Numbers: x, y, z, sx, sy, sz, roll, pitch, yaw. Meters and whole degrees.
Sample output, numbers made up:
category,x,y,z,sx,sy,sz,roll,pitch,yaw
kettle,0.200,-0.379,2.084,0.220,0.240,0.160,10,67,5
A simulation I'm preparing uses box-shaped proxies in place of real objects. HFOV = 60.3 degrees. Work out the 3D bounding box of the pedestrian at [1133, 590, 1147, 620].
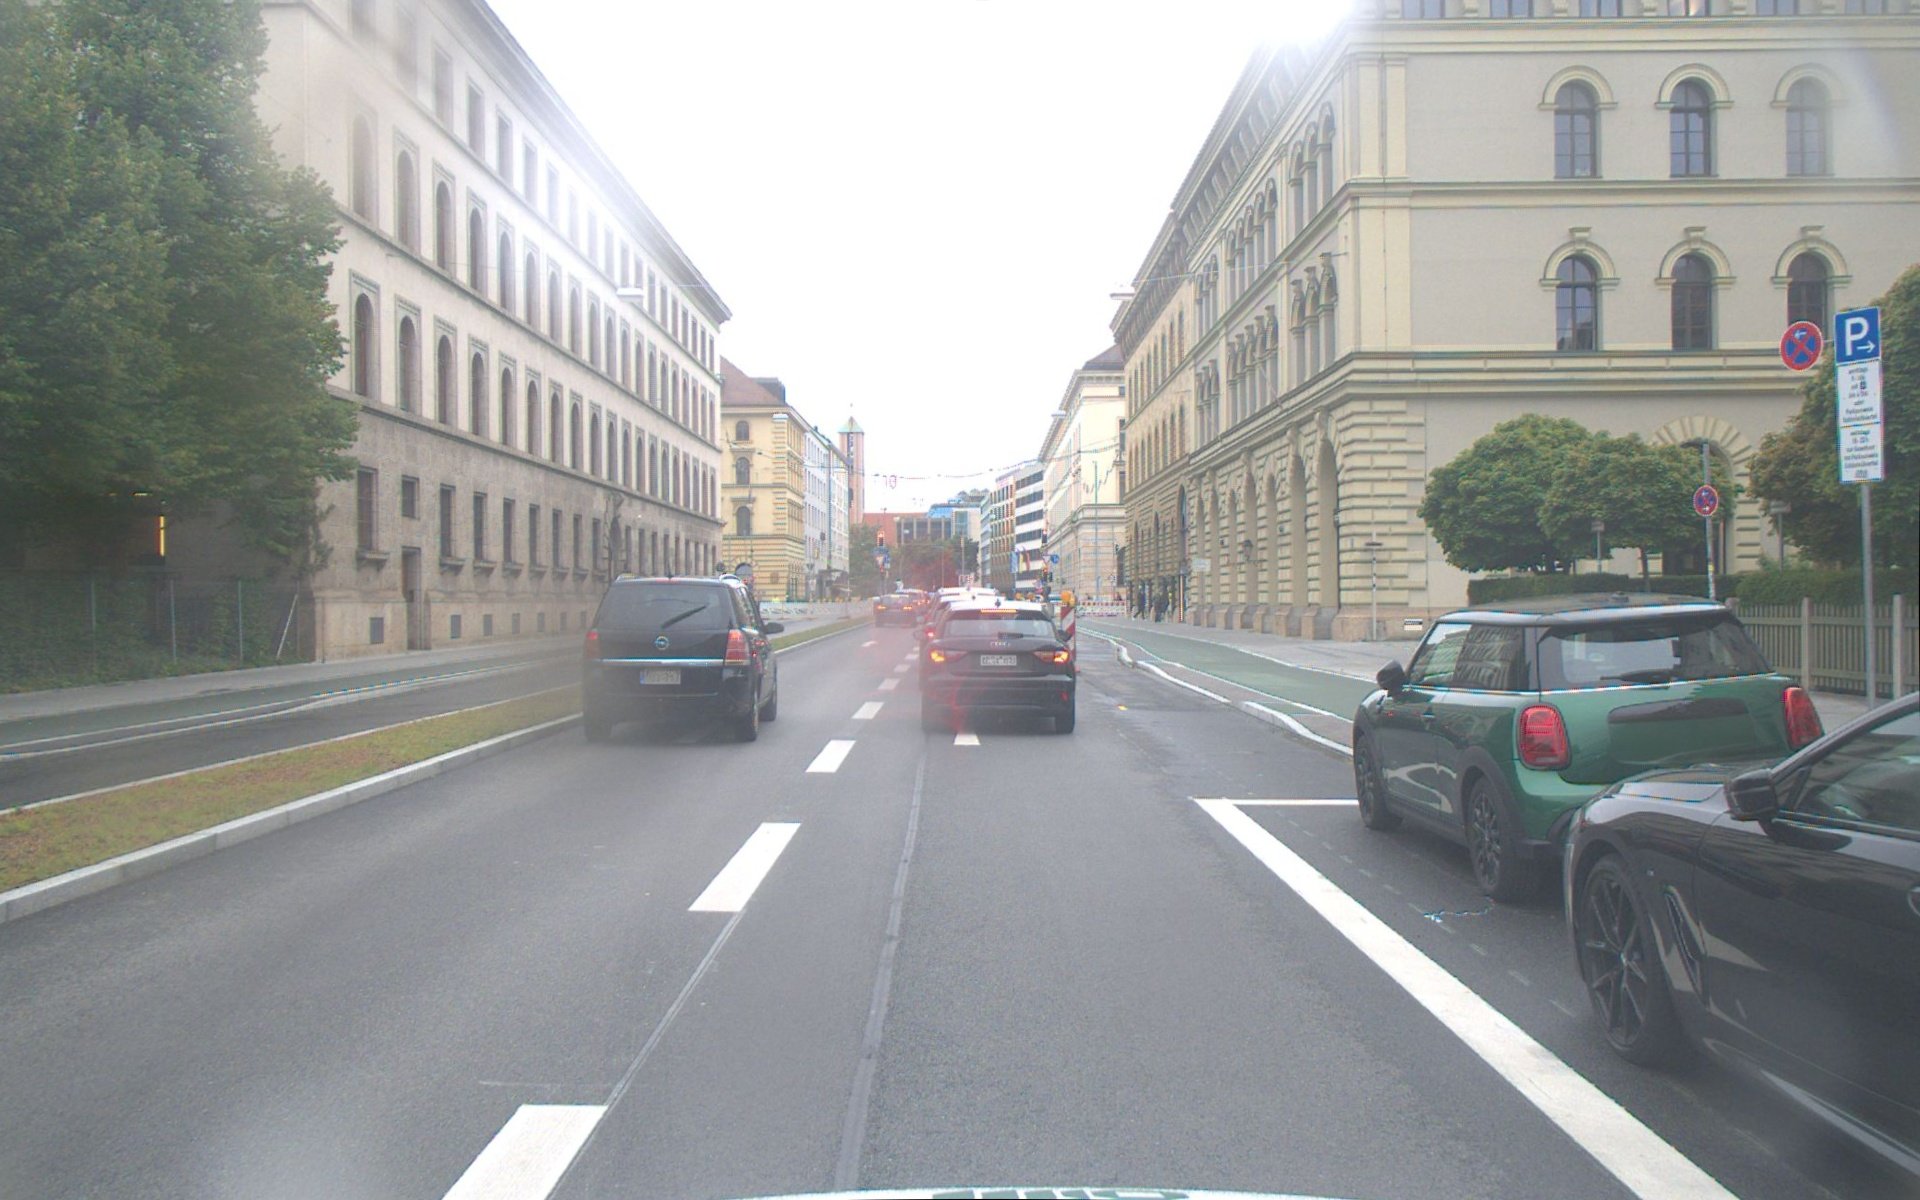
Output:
category,x,y,z,sx,sy,sz,roll,pitch,yaw
pedestrian,9.956,0.269,91.378,0.695,1.646,0.754,0,0,-1

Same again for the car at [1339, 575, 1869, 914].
category,x,y,z,sx,sy,sz,roll,pitch,yaw
car,3.418,0.658,9.570,1.640,1.547,3.830,1,0,1

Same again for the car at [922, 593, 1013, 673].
category,x,y,z,sx,sy,sz,roll,pitch,yaw
car,0.148,0.609,33.271,1.694,1.486,4.000,1,0,0

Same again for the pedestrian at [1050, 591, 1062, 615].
category,x,y,z,sx,sy,sz,roll,pitch,yaw
pedestrian,6.610,0.213,113.624,0.736,1.646,0.713,-1,0,8

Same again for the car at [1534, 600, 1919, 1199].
category,x,y,z,sx,sy,sz,roll,pitch,yaw
car,3.006,0.738,3.847,1.788,1.432,4.720,1,0,1

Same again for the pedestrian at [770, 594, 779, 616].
category,x,y,z,sx,sy,sz,roll,pitch,yaw
pedestrian,-15.449,0.407,137.787,0.642,1.836,0.727,0,0,-1

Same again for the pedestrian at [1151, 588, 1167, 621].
category,x,y,z,sx,sy,sz,roll,pitch,yaw
pedestrian,9.884,0.219,82.033,0.695,1.646,0.754,0,0,-1

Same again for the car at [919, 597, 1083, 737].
category,x,y,z,sx,sy,sz,roll,pitch,yaw
car,0.434,0.695,19.263,1.694,1.427,4.000,1,0,0

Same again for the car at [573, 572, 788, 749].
category,x,y,z,sx,sy,sz,roll,pitch,yaw
car,-2.822,0.557,17.499,1.729,1.644,4.028,1,0,-2

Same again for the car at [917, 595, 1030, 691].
category,x,y,z,sx,sy,sz,roll,pitch,yaw
car,0.213,0.650,27.090,1.694,1.427,4.000,1,0,0

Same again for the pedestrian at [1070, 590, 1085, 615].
category,x,y,z,sx,sy,sz,roll,pitch,yaw
pedestrian,7.868,0.175,110.917,0.702,1.646,0.747,0,0,-29

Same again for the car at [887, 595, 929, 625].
category,x,y,z,sx,sy,sz,roll,pitch,yaw
car,-2.576,0.476,82.767,1.952,1.469,4.000,0,0,0

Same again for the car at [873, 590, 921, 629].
category,x,y,z,sx,sy,sz,roll,pitch,yaw
car,-2.778,0.395,73.771,1.952,1.656,4.000,0,0,0
